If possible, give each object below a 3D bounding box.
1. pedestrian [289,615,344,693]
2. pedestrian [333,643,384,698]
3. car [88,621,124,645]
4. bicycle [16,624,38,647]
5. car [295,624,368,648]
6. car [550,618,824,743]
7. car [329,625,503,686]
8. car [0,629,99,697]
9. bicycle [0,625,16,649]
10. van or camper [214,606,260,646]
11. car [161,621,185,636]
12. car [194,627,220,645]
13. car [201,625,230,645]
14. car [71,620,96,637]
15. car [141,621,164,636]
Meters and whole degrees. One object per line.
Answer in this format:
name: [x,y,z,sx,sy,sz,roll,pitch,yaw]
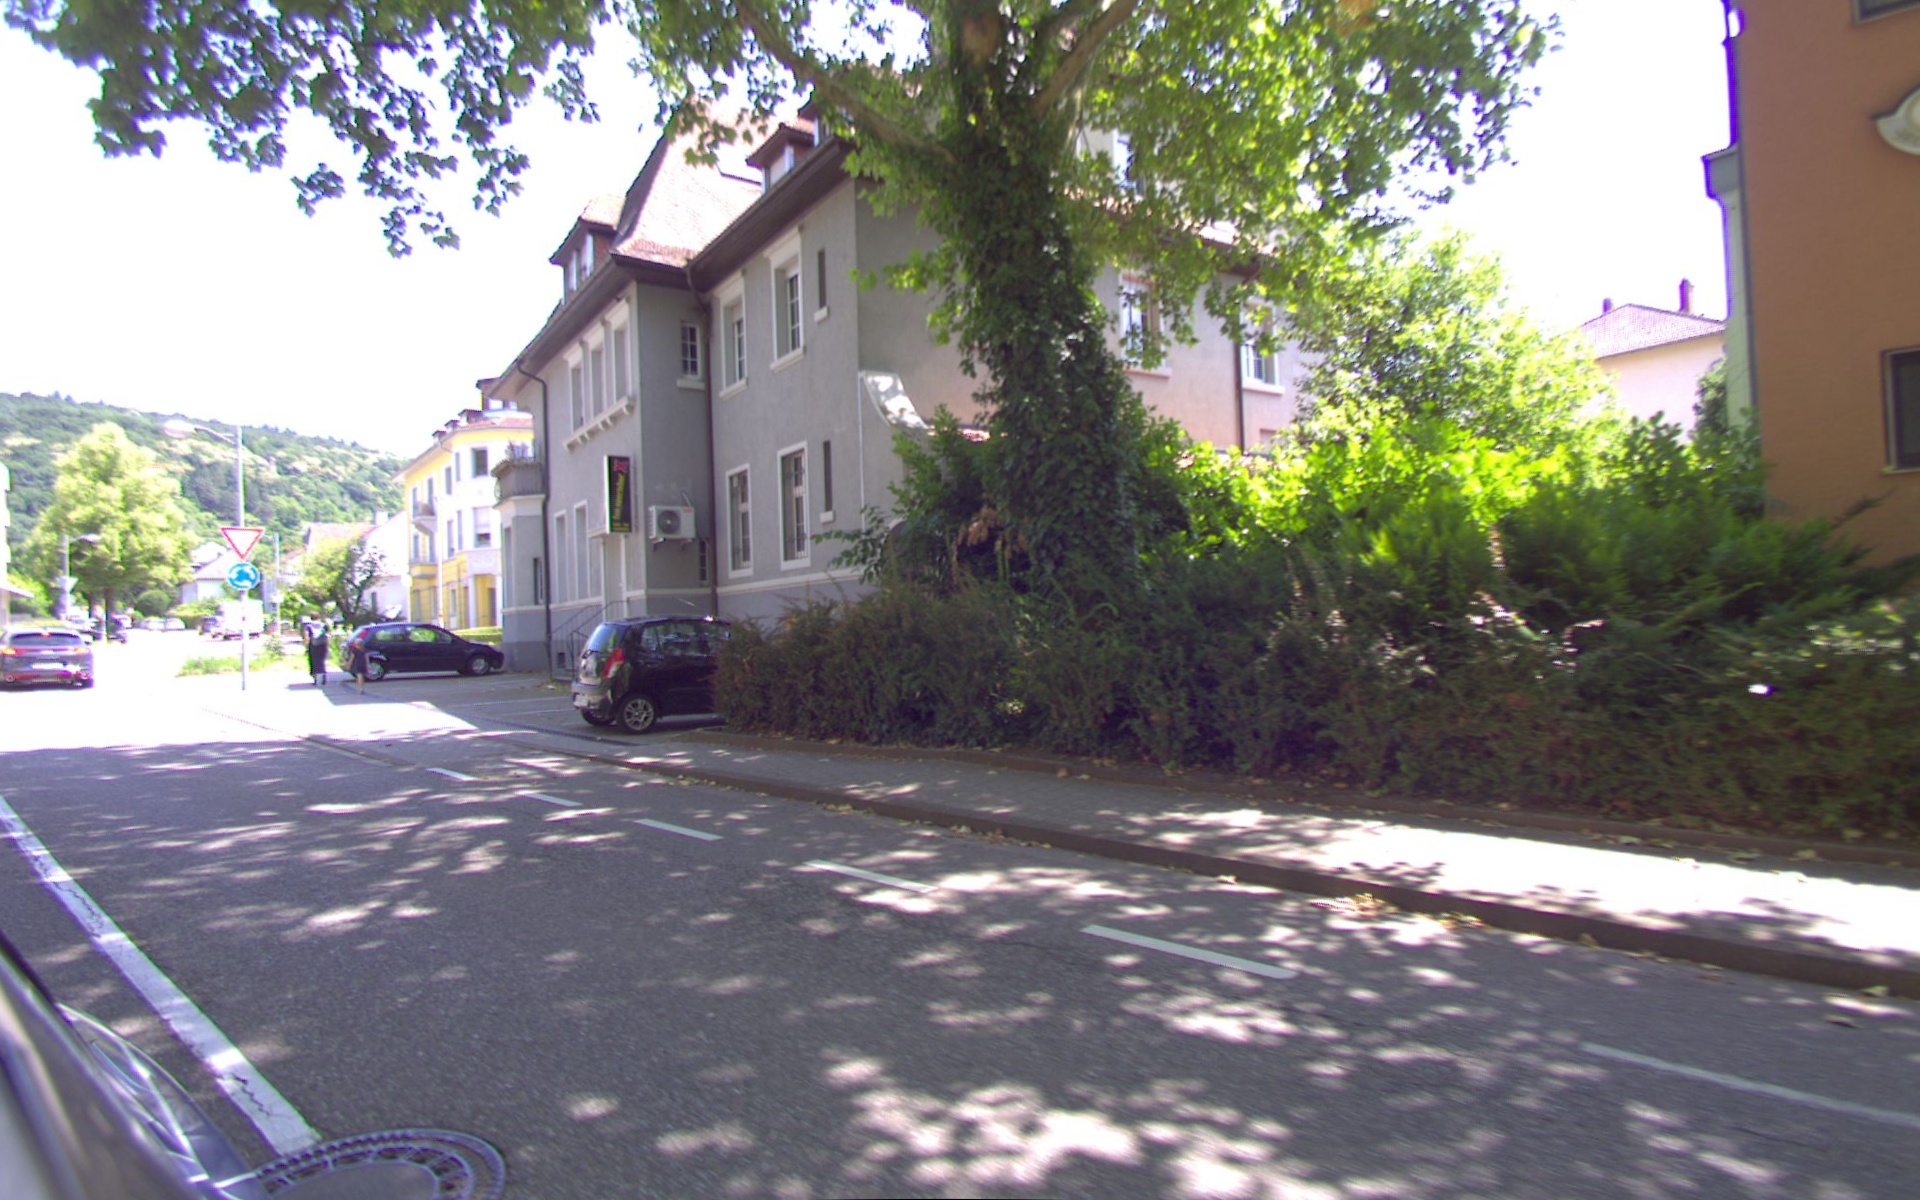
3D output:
pedestrian: [-14.963,1.230,23.528,0.861,1.756,1.113,1,-2,-44]
pedestrian: [-12.800,1.486,21.518,0.745,1.130,0.898,1,-2,-44]
car: [-54.930,2.113,65.109,1.729,1.516,3.998,1,-2,-40]
bicycle: [-55.267,2.099,59.958,0.560,1.388,1.753,1,-2,-31]
car: [-42.884,2.455,69.113,1.753,1.598,3.942,-2,-2,37]
car: [-3.817,1.047,14.355,3.339,1.558,1.727,1,-2,-40]
car: [-14.165,1.401,26.438,3.733,1.471,1.727,1,-2,-40]
car: [-21.633,1.409,23.554,4.390,1.437,1.750,-2,-2,41]
bicycle: [-56.096,2.152,59.464,0.560,1.388,1.753,1,-2,-31]
van or camper: [-52.248,1.865,73.087,2.239,2.658,5.895,-3,0,-40]
car: [-88.685,3.182,114.015,1.969,1.679,4.006,1,-1,-41]
car: [-68.398,3.254,91.905,1.728,1.516,4.000,1,-2,-39]
car: [-59.013,2.760,80.191,1.728,1.516,4.000,1,-2,-39]
car: [-92.035,2.960,106.296,1.739,1.763,4.007,1,-2,-39]
car: [-97.178,3.384,121.733,1.969,1.679,4.006,1,-1,-41]
